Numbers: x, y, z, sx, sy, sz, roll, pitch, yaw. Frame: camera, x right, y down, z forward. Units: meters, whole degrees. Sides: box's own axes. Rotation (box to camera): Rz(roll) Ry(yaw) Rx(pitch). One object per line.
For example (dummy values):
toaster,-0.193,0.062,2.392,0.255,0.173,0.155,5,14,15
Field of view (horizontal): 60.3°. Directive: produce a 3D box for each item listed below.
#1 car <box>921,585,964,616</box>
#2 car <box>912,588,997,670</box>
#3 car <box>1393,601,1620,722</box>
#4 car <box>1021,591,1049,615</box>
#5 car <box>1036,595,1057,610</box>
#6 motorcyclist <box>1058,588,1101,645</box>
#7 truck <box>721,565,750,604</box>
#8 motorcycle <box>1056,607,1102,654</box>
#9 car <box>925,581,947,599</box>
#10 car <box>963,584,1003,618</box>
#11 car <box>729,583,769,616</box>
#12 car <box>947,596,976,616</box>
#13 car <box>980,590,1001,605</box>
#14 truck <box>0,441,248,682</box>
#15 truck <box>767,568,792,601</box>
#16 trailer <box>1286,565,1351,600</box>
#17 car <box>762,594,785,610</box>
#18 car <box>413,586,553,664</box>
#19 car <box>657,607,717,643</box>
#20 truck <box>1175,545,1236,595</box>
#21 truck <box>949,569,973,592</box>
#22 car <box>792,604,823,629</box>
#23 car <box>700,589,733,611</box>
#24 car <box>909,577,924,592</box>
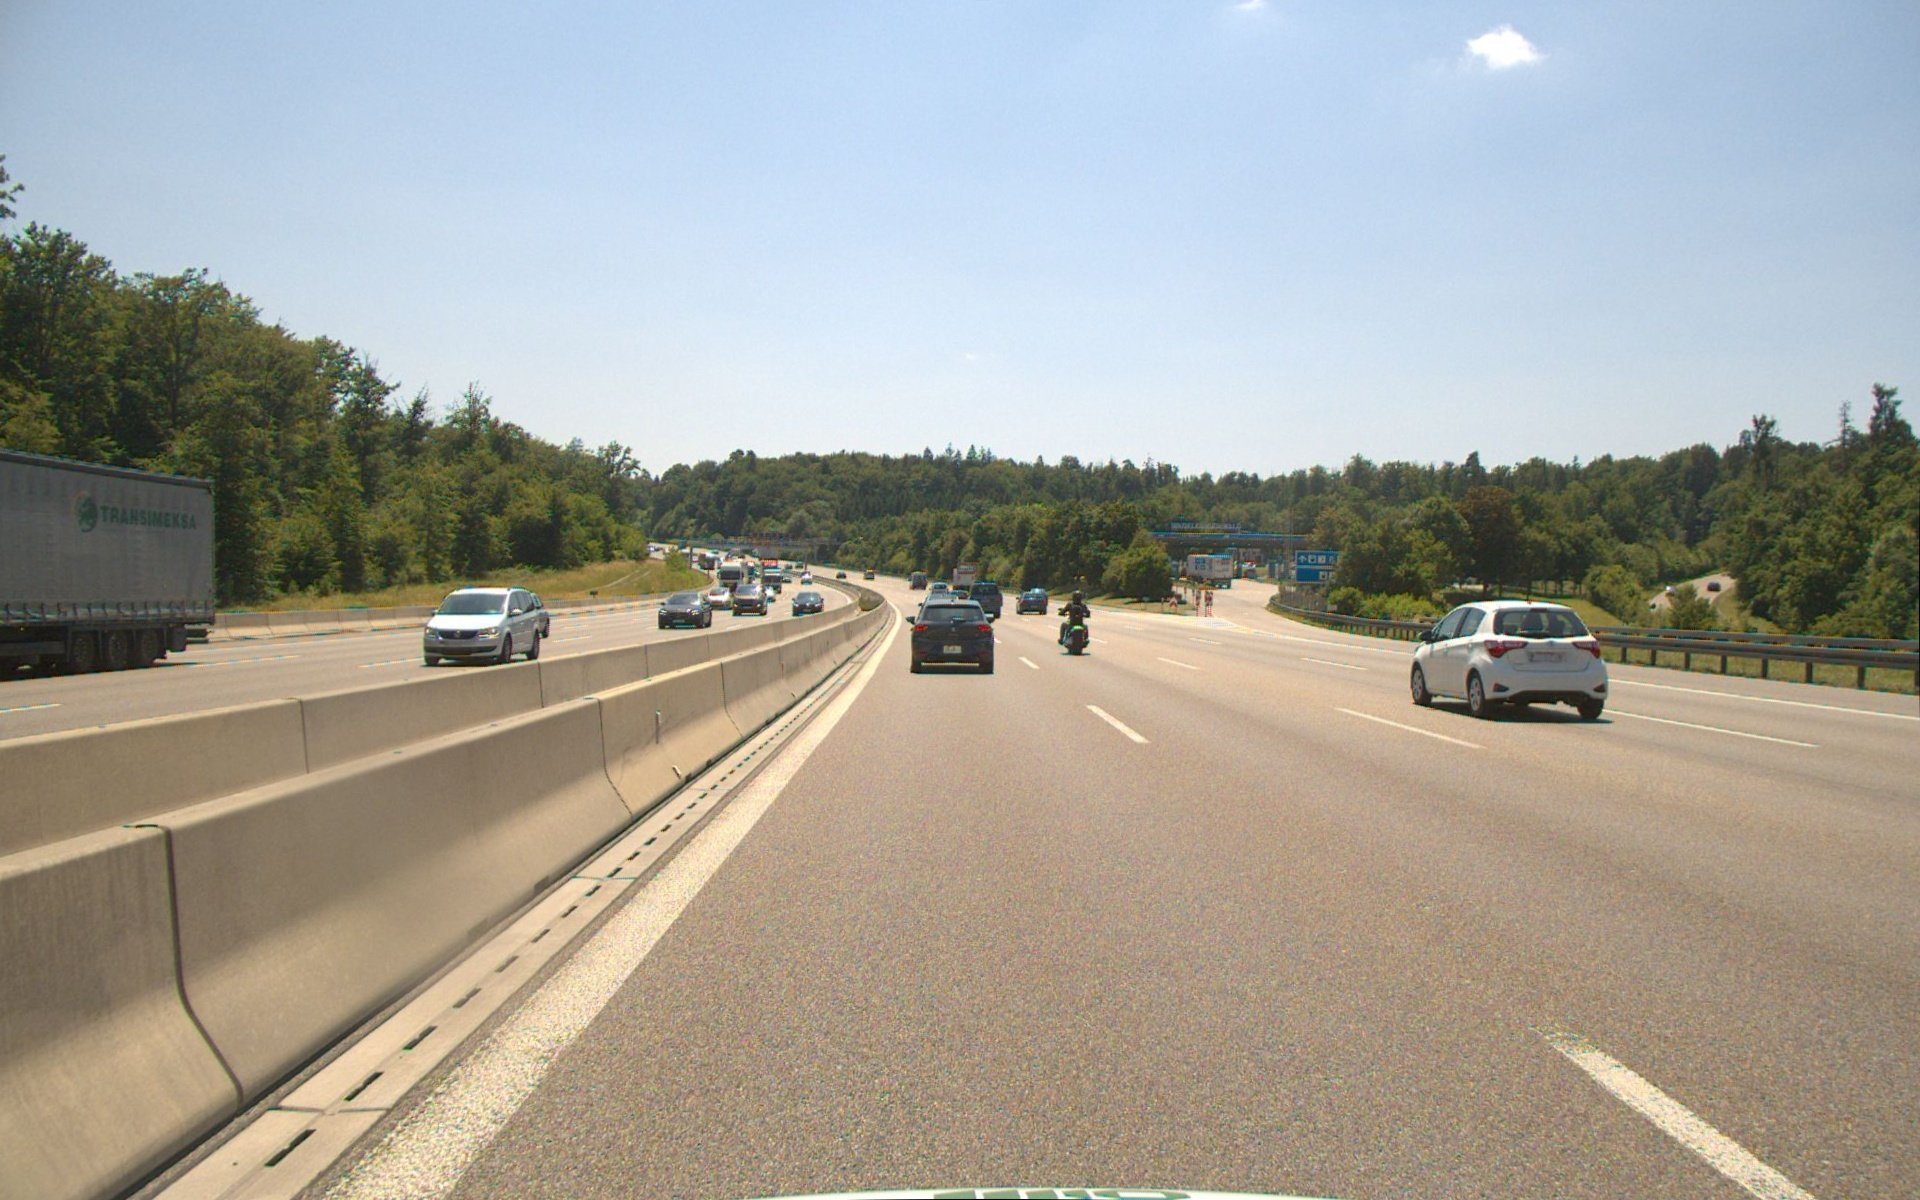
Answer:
car,-0.777,0.028,71.144,1.747,1.287,3.458,0,0,-2
car,-0.082,0.586,34.028,1.591,1.513,3.685,3,-1,0
car,7.388,0.765,22.820,1.632,1.458,4.375,-2,0,0
car,4.844,0.206,107.693,1.641,1.456,3.685,2,0,0
car,7.400,0.217,142.097,1.576,1.233,3.459,0,0,-1
motorcyclist,3.148,0.433,43.708,0.943,1.463,1.234,0,1,-4
truck,-25.049,-1.708,184.810,2.628,4.250,6.229,0,0,-2
motorcycle,3.144,0.793,43.883,0.958,1.149,2.270,1,0,-2
car,-2.507,-1.025,169.629,1.954,1.713,4.420,3,1,-4
car,1.315,0.047,96.339,2.055,1.884,4.078,0,0,-3
car,-13.037,-0.033,102.370,1.834,1.974,5.773,0,0,-1
car,0.115,0.434,123.690,1.806,1.243,4.221,3,1,-4
car,2.598,-0.180,141.899,1.576,1.233,3.459,1,0,-1
truck,-17.653,-0.662,30.924,2.635,4.096,14.295,0,0,-1
truck,-23.875,-2.029,219.193,2.480,4.250,9.616,0,0,-2
trailer,41.563,-2.124,191.405,3.101,3.700,13.590,1,2,31
car,-18.201,0.189,161.745,1.834,1.506,4.812,0,0,-2
car,-10.428,0.523,36.511,1.794,1.589,4.775,0,0,-1
car,-11.763,1.064,71.655,1.834,1.502,5.110,0,0,-1
truck,32.471,-3.922,219.766,5.396,6.376,15.426,0,0,-1
truck,0.130,-2.639,218.509,2.673,2.834,5.679,3,1,-4
car,-9.302,1.011,100.951,1.569,1.494,4.504,0,0,-1
car,-17.958,0.015,122.127,1.835,1.561,4.812,-1,0,-2
car,-6.385,-2.272,244.152,1.954,2.048,4.671,3,1,-4
